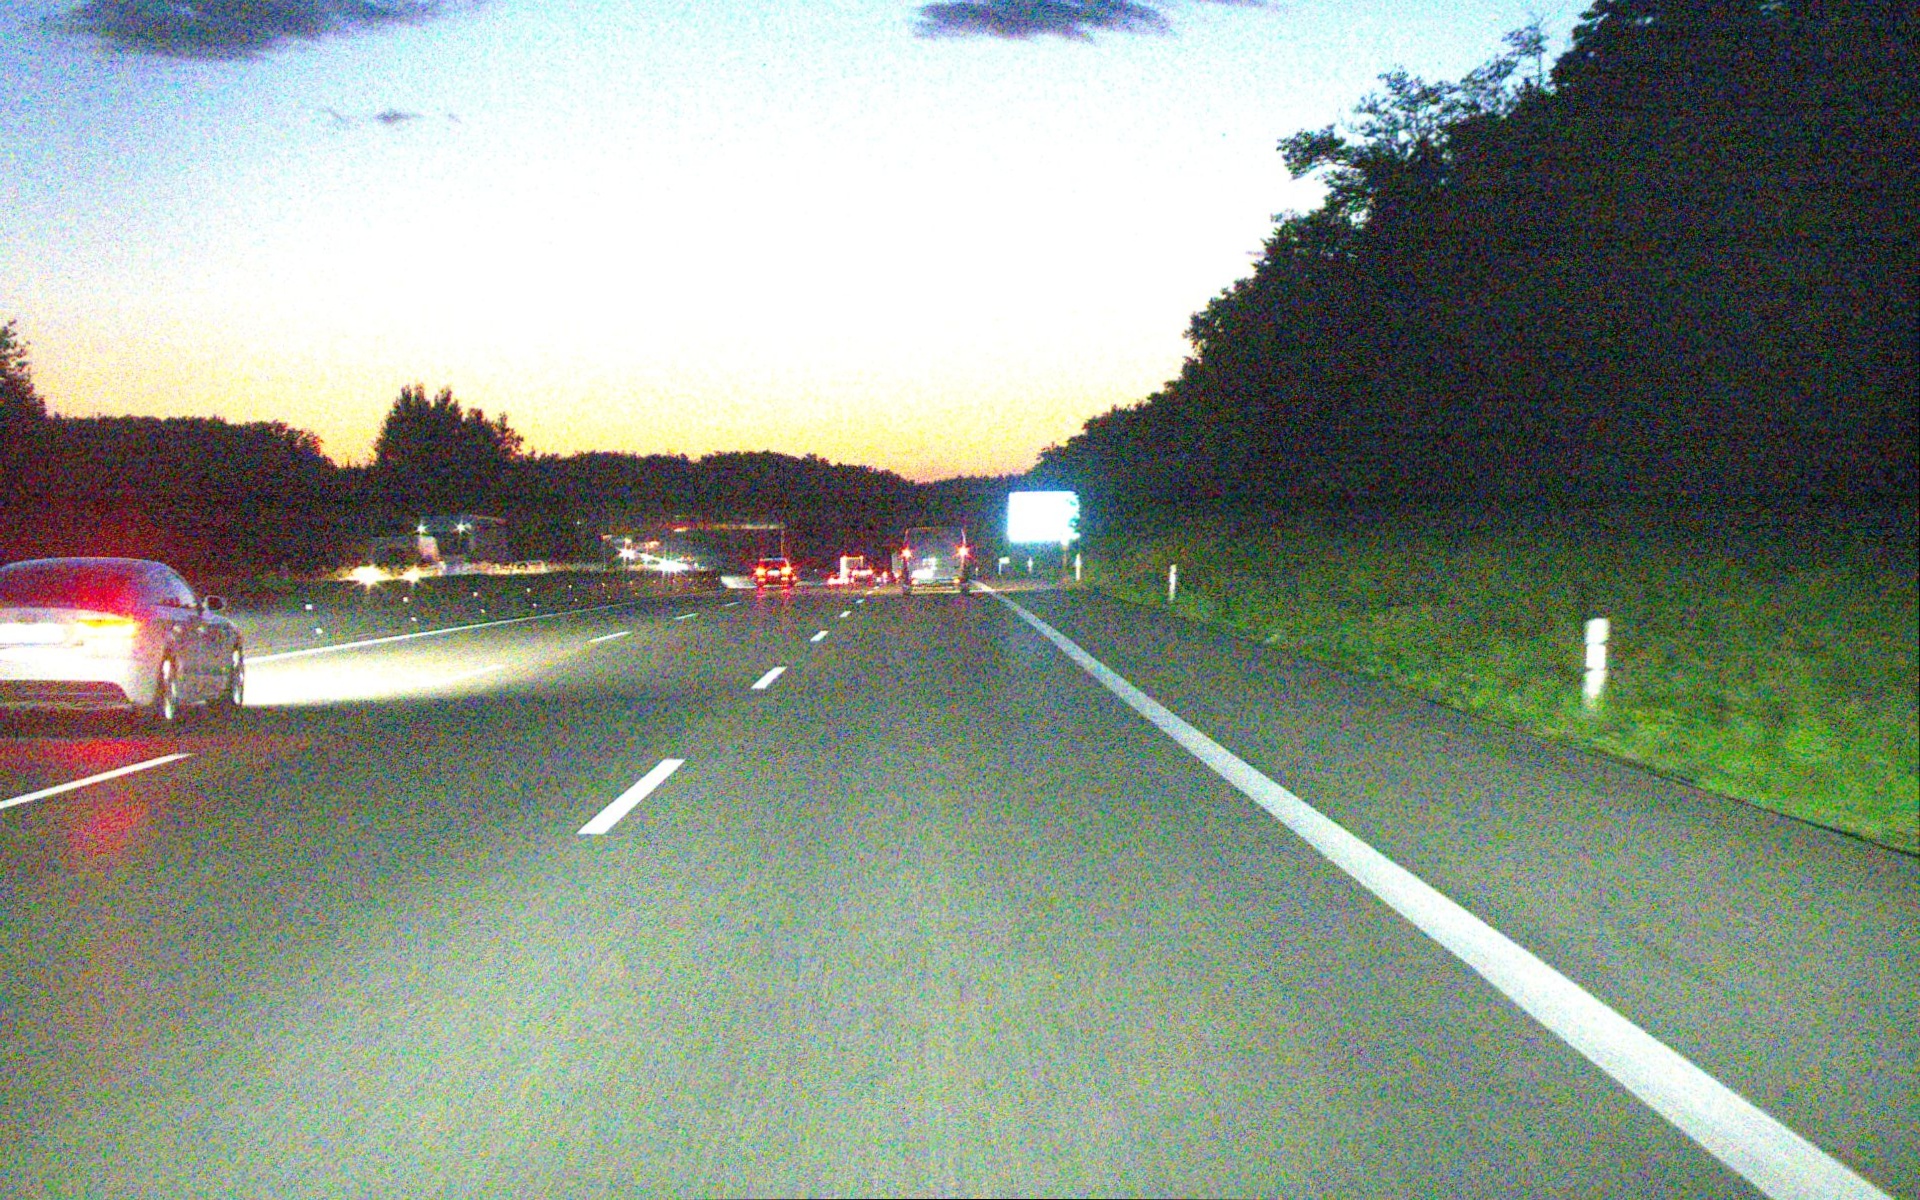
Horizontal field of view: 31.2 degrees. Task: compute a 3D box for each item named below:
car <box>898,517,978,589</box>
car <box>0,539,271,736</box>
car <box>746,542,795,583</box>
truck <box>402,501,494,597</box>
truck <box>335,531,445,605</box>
[{"bbox_3d":[-0.646,-1.407,101.605,2.196,1.948,4.763,-3,1,0],"label":"car"},{"bbox_3d":[-7.197,0.242,28.918,1.779,1.482,5.254,0,1,0],"label":"car"},{"bbox_3d":[-9.383,-1.882,170.801,2.196,1.949,4.634,0,1,0],"label":"car"},{"bbox_3d":[-24.546,-2.474,165.176,3.325,4.418,6.708,-2,1,0],"label":"truck"},{"bbox_3d":[-21.285,-1.236,128.712,2.872,2.632,7.886,-1,1,-1],"label":"truck"}]
